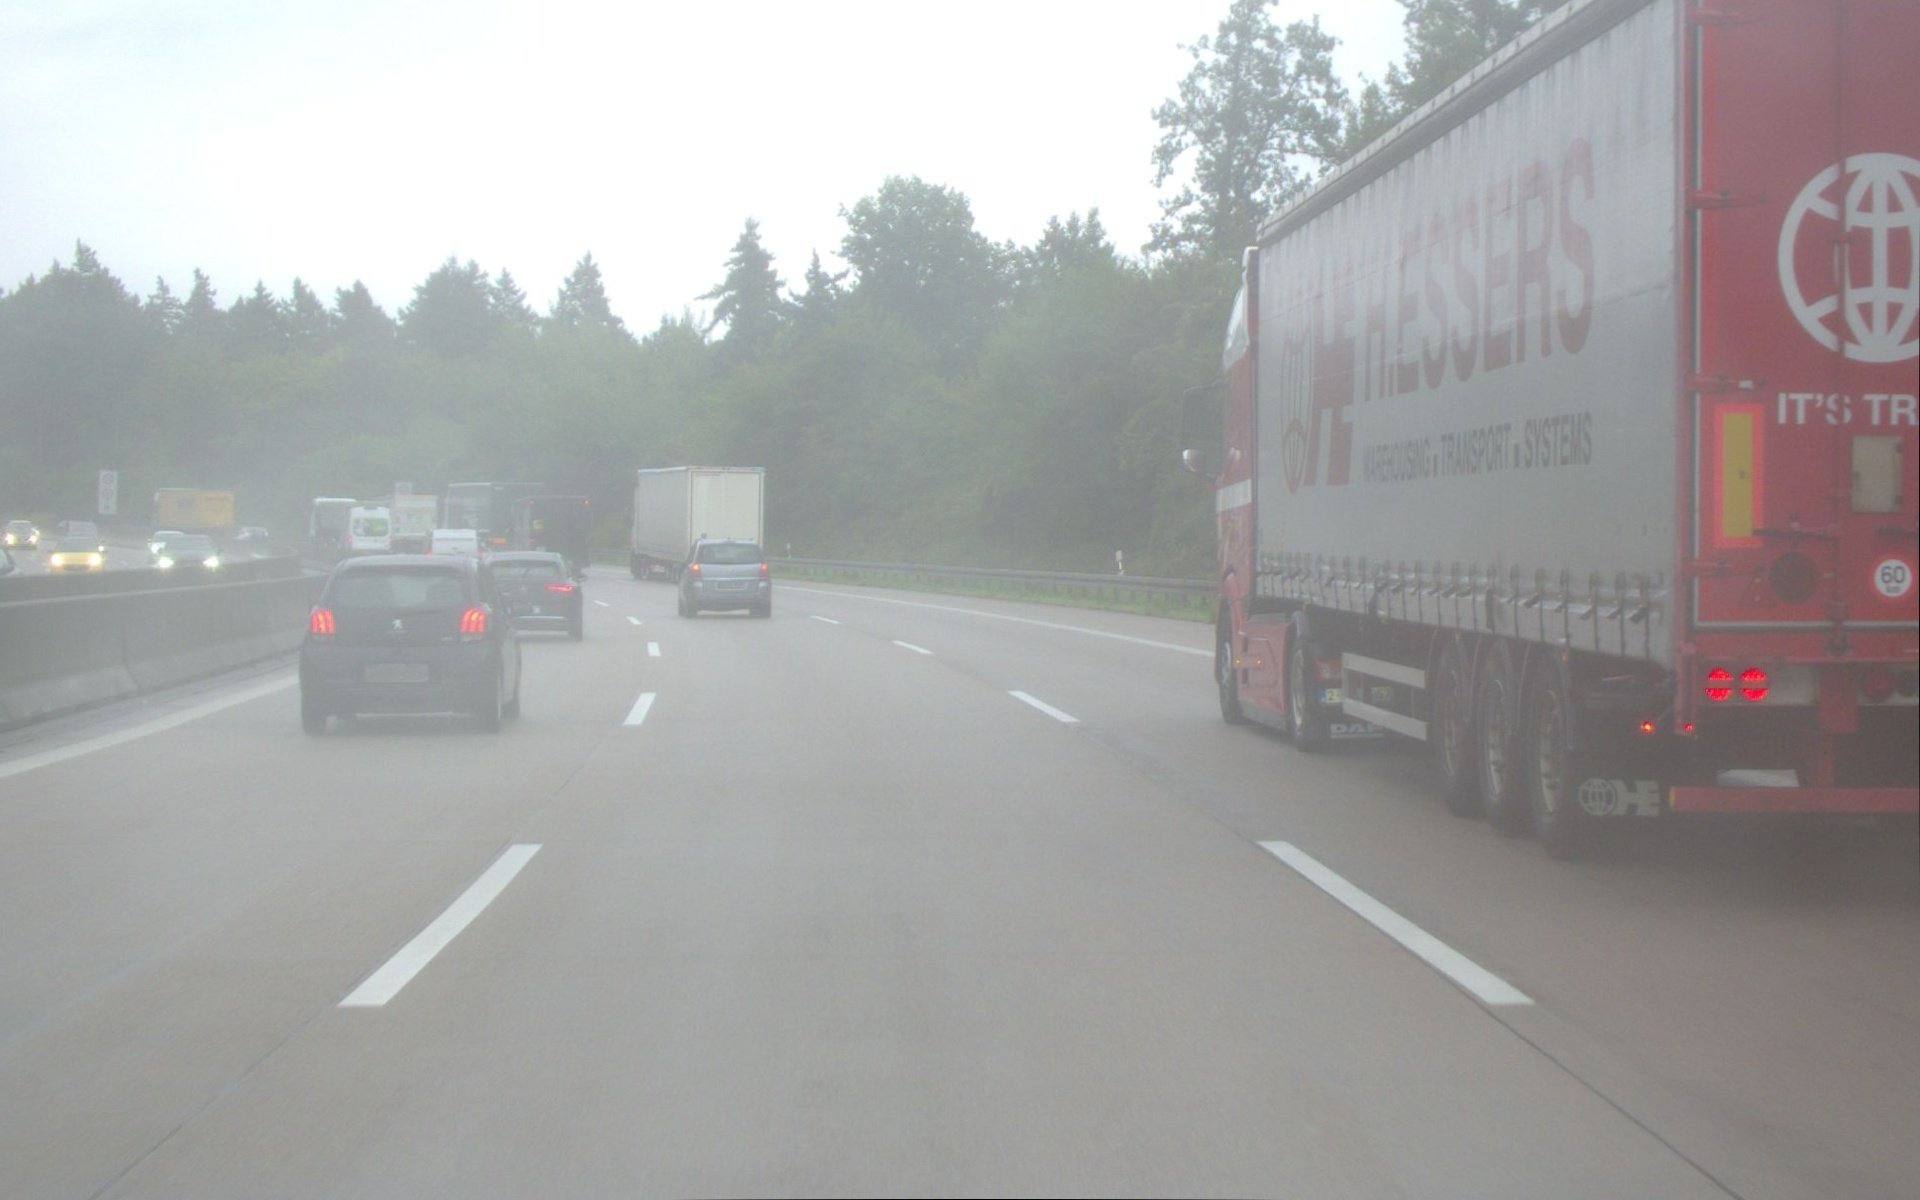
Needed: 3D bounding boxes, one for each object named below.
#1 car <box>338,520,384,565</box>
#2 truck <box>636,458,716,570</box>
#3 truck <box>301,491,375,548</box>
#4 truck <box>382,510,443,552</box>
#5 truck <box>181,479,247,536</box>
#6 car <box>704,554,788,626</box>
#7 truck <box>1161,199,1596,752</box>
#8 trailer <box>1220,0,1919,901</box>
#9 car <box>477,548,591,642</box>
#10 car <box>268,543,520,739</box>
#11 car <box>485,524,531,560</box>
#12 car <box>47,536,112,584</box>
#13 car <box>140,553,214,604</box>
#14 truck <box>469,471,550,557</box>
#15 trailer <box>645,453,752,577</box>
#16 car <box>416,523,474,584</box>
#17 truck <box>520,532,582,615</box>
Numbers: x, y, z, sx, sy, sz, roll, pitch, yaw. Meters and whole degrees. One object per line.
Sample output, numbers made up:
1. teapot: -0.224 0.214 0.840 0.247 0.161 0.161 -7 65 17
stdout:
1. car: -27.707 -2.673 158.858 1.993 2.052 4.001 0 1 -11
2. truck: -10.534 -3.196 127.196 2.419 4.054 4.980 1 2 -10
3. truck: -34.485 -4.478 190.409 3.081 2.895 7.906 1 2 -17
4. truck: -32.444 -4.105 203.571 2.973 2.301 6.669 2 1 -13
5. truck: -55.481 -6.833 255.625 3.739 4.195 6.820 0 1 -21
6. car: -4.370 -0.230 70.670 1.553 1.347 3.684 2 1 -2
7. truck: 3.183 -0.934 27.711 2.374 3.940 6.161 0 1 -3
8. trailer: 3.520 -0.794 20.907 2.370 3.940 12.522 0 1 -2
9. car: -6.712 -0.109 54.474 1.553 1.347 3.684 2 1 -4
10. car: -4.697 0.296 28.949 1.683 1.457 3.684 2 1 -4
11. car: -19.763 -2.555 150.266 1.881 1.468 4.001 2 1 -8
12. car: -28.341 -1.301 110.750 1.573 1.482 4.285 0 1 -8
13. car: -24.345 -0.693 106.978 1.864 1.543 4.001 0 1 -8
14. truck: -22.675 -4.353 172.682 3.368 4.117 10.441 1 2 -11
15. trailer: -9.220 -3.005 120.065 2.419 4.054 12.059 1 2 -10
16. car: -17.182 -1.567 114.599 1.725 2.007 3.658 0 1 -11
17. truck: -15.768 -1.075 132.909 2.269 2.877 7.905 1 2 -6
